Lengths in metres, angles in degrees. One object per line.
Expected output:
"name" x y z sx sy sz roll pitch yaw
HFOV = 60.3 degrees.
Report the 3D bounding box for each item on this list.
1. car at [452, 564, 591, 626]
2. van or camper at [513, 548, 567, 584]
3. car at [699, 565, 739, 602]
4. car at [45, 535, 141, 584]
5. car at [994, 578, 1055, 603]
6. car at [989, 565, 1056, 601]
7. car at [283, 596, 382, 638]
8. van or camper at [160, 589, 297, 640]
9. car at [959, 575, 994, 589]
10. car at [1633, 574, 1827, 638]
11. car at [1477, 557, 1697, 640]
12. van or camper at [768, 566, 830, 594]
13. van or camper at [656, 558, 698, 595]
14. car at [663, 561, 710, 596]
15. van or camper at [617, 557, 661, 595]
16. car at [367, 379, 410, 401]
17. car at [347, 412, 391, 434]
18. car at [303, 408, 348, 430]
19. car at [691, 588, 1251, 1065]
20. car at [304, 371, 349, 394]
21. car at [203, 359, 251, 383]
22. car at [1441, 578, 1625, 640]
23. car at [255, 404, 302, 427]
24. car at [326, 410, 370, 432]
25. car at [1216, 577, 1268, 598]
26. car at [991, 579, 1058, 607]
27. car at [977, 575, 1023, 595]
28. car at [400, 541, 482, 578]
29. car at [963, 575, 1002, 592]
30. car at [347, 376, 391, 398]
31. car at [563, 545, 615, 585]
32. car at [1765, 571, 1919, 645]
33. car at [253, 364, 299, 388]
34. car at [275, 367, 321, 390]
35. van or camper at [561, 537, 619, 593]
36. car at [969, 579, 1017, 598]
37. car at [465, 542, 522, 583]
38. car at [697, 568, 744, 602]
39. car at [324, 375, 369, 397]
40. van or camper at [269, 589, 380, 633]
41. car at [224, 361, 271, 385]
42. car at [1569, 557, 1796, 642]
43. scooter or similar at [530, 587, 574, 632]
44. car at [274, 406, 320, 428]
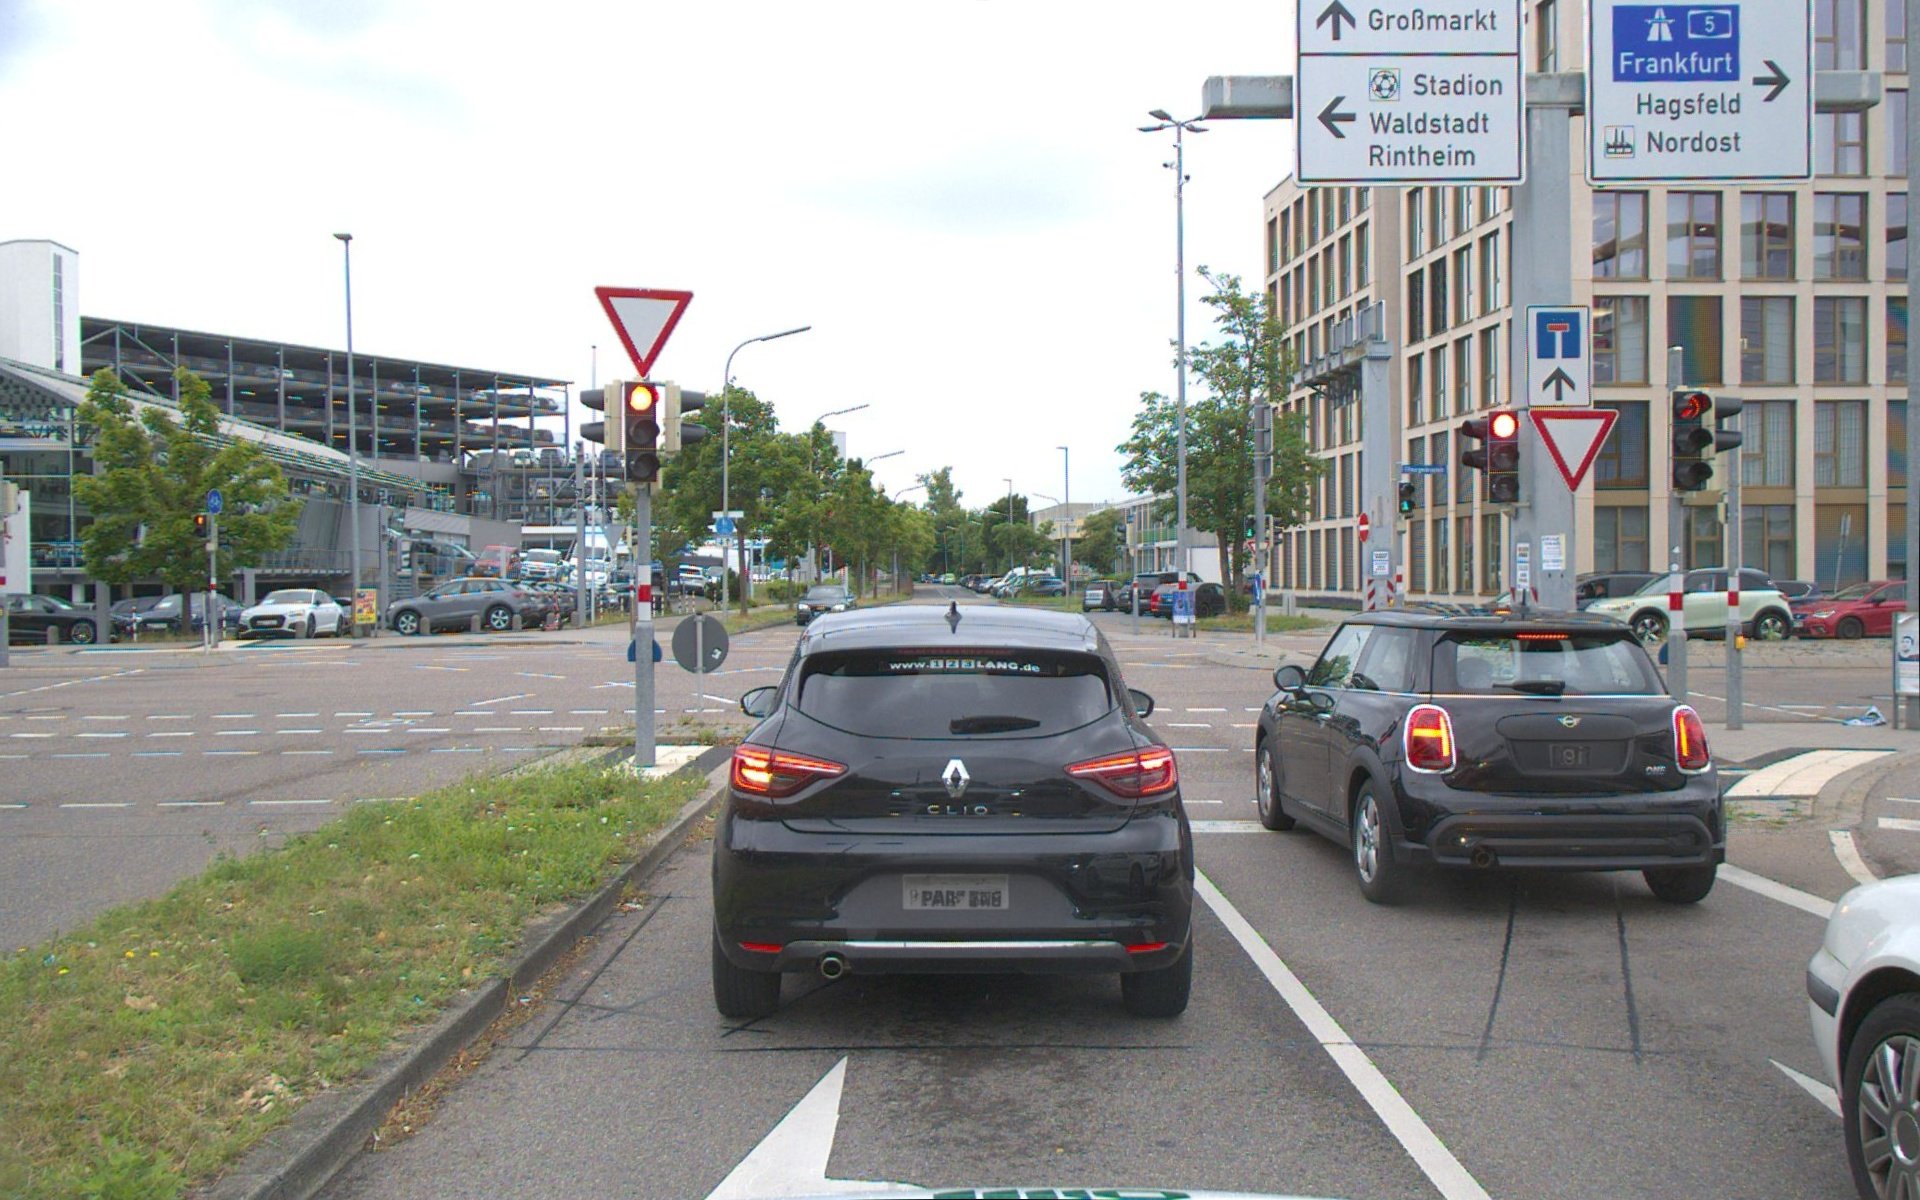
"car" -16.215 -0.178 61.408 4.683 2.049 1.997 -2 0 -7
"van or camper" -21.030 -1.700 82.995 1.954 1.680 3.996 1 0 -4
"car" -13.799 -0.936 94.850 1.954 2.049 3.996 1 0 -4
"car" -32.738 -1.497 62.540 1.784 1.691 3.995 1 0 -5
"car" 5.135 -0.754 132.303 4.690 1.924 2.142 1 0 -3
"car" 5.726 -1.561 151.664 5.993 3.171 2.133 1 0 -2
"car" -29.094 0.786 76.777 3.911 1.870 1.757 1 0 -7
"van or camper" -25.593 0.512 58.003 3.909 1.707 1.998 1 0 -5
"car" 2.251 -2.481 229.914 4.690 1.924 2.142 1 0 -3
"car" 19.417 0.158 41.777 4.055 1.517 1.870 1 0 -5
"car" 14.428 -0.028 38.183 4.321 1.800 1.998 1 0 -5
"van or camper" -14.750 -1.816 151.390 5.486 2.413 1.999 1 0 -2
"van or camper" -16.138 -1.314 94.610 1.954 2.049 3.996 1 0 -4
"car" -13.710 -1.040 83.108 1.954 1.646 3.996 1 0 -4
"van or camper" -18.291 -1.353 94.386 1.954 2.049 3.996 1 0 -4
"car" -55.900 -20.514 161.822 3.914 1.696 1.996 1 1 31
"car" -57.098 -17.095 159.883 3.914 1.696 1.996 1 1 31
"car" -59.654 -17.034 155.523 3.914 1.696 1.996 1 1 31
"car" 0.011 0.716 7.150 1.721 1.460 3.999 1 0 -1
"car" -59.602 -20.424 155.629 3.914 1.696 1.996 1 1 31
"car" -64.953 -20.274 146.594 3.914 1.696 1.996 1 1 31
"car" 14.332 0.229 41.465 4.005 1.457 1.749 1 0 -5
"car" -62.293 -16.841 151.172 3.914 1.696 1.996 1 1 31
"car" -58.359 -17.070 157.669 3.914 1.696 1.996 1 1 31
"car" 18.938 -0.825 111.138 3.182 1.356 1.477 1 0 -20
"car" 4.997 -0.534 129.040 5.070 2.049 2.142 1 0 -3
"car" 4.199 -1.581 175.624 4.690 1.924 2.142 1 0 -3
"car" -28.110 -2.181 89.681 3.908 1.870 1.759 1 0 -4
"car" 2.934 -2.202 219.009 5.069 2.049 2.143 1 0 -2
"car" -57.143 -20.552 159.980 3.914 1.696 1.996 1 1 31
"car" -18.615 -1.729 83.158 1.954 1.855 3.996 1 0 -4
"car" 21.262 0.199 38.690 3.908 1.629 1.998 1 0 -4
"car" -62.465 -20.469 151.076 3.914 1.696 1.996 1 1 31
"car" -61.229 -20.440 152.962 3.914 1.696 1.996 1 1 31
"van or camper" -21.079 -1.956 94.355 2.486 3.079 4.839 1 0 -4
"car" 3.627 -1.260 182.219 5.069 2.049 2.143 1 0 -2
"car" -23.435 -1.859 83.197 1.954 1.881 3.996 1 0 -4
"car" -12.152 -0.738 84.242 1.954 1.646 3.998 1 0 -3
"car" -58.486 -20.396 157.658 3.914 1.696 1.996 1 1 31
"van or camper" -26.403 0.476 68.840 3.909 1.741 1.845 1 0 -5
"car" -64.018 -20.402 148.657 3.914 1.696 1.996 1 1 31
"car" 15.218 -0.008 34.933 3.977 1.672 1.903 1 0 -6
"scooter or similar" -11.859 0.271 48.107 0.545 1.240 1.561 2 1 13
"car" -61.434 -16.955 153.266 3.914 1.696 1.996 1 1 31
